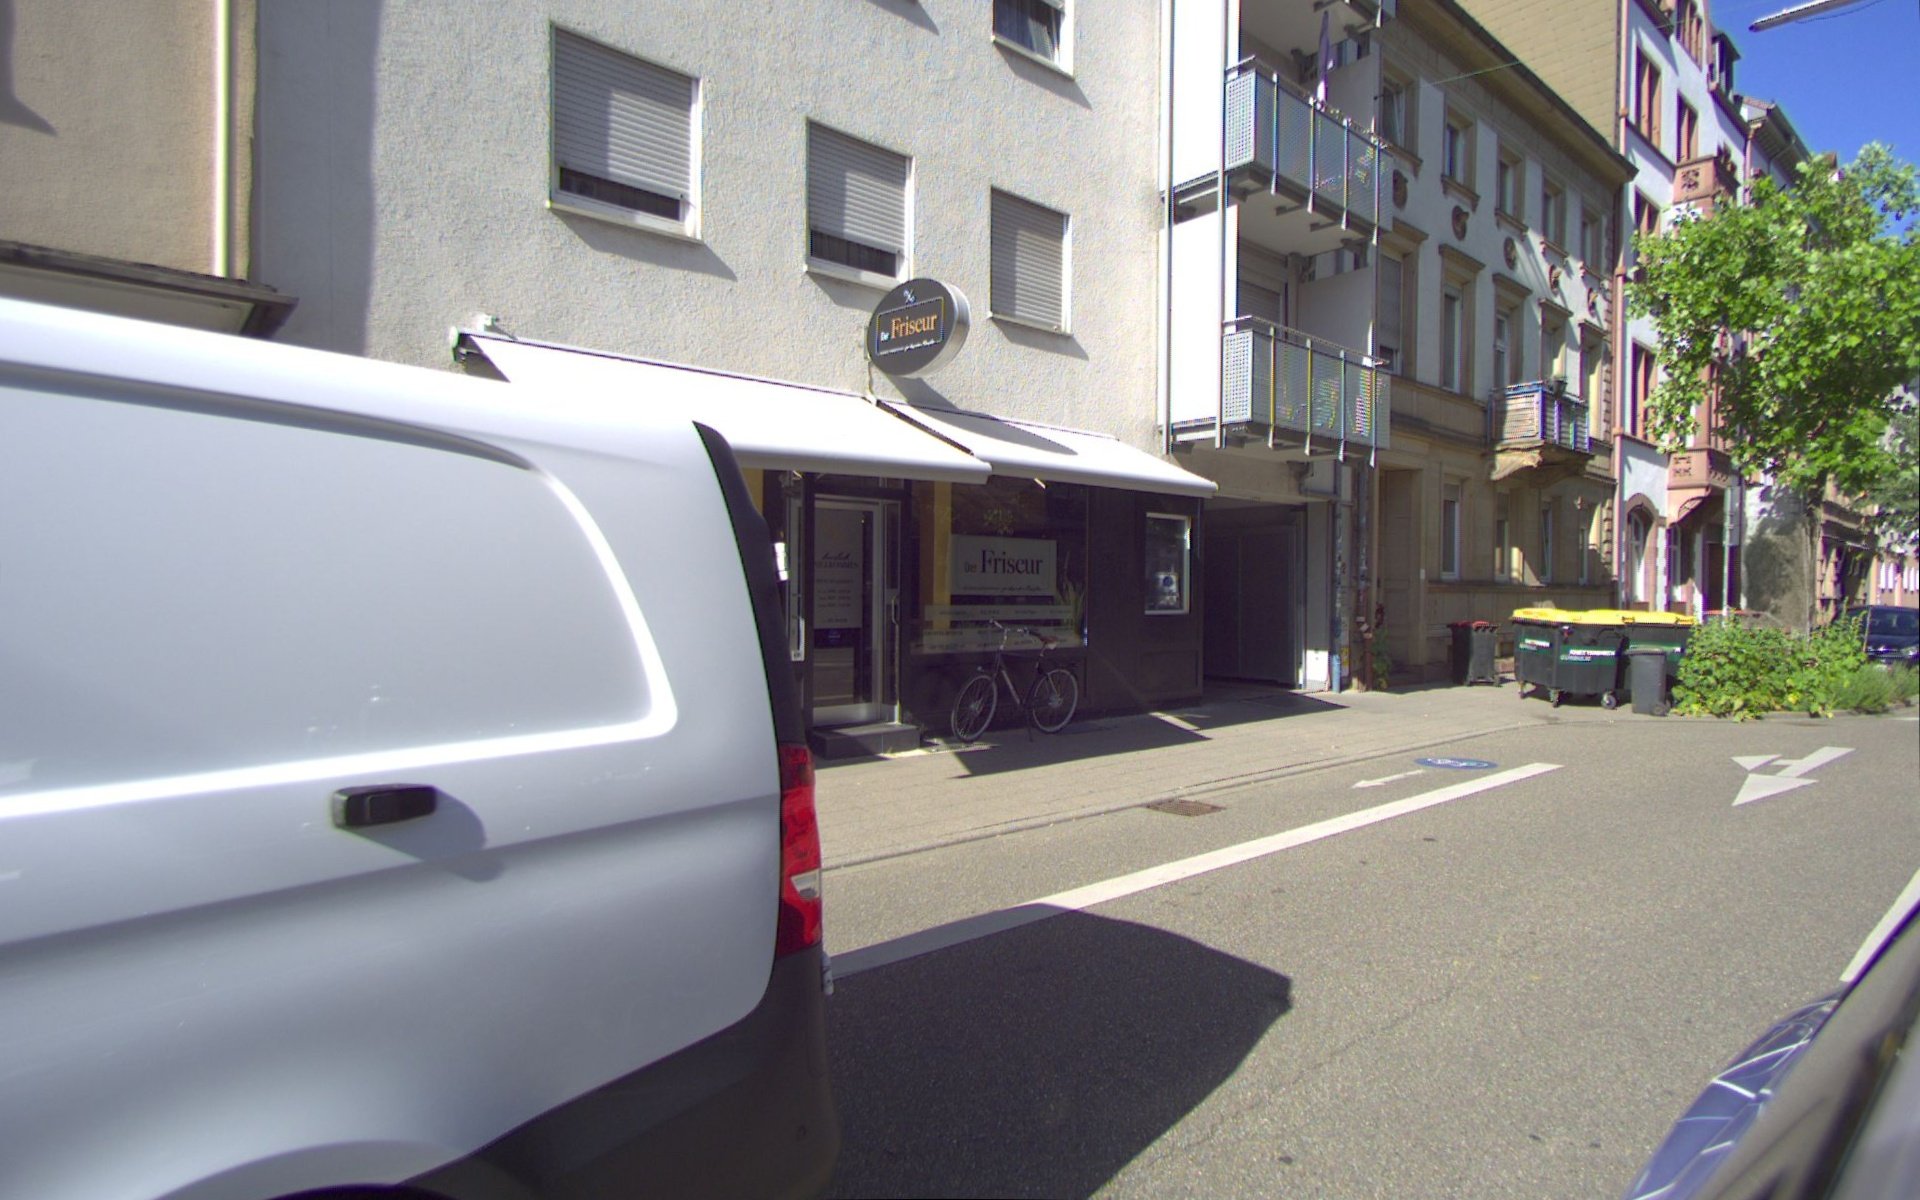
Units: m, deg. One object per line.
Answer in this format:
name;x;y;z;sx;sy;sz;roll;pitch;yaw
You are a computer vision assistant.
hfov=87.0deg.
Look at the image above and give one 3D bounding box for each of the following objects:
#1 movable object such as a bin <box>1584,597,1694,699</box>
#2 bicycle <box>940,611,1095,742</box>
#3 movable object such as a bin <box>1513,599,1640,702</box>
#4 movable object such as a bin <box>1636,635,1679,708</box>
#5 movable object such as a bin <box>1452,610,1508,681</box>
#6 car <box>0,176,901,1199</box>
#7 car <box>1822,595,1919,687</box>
movable object such as a bin;9.961;0.684;14.903;0.943;1.364;1.066;1;3;11
bicycle;0.606;0.717;10.105;1.760;1.193;0.402;0;0;-41
movable object such as a bin;8.845;0.699;14.580;1.030;1.341;1.216;1;3;1
movable object such as a bin;9.574;0.970;13.889;0.399;0.933;0.478;3;3;41
movable object such as a bin;8.535;0.738;16.626;0.557;1.094;0.617;1;3;1
car;-2.535;0.501;0.877;4.911;1.892;1.839;0;1;-42
car;16.840;0.672;18.217;3.293;1.510;1.550;0;1;-41
